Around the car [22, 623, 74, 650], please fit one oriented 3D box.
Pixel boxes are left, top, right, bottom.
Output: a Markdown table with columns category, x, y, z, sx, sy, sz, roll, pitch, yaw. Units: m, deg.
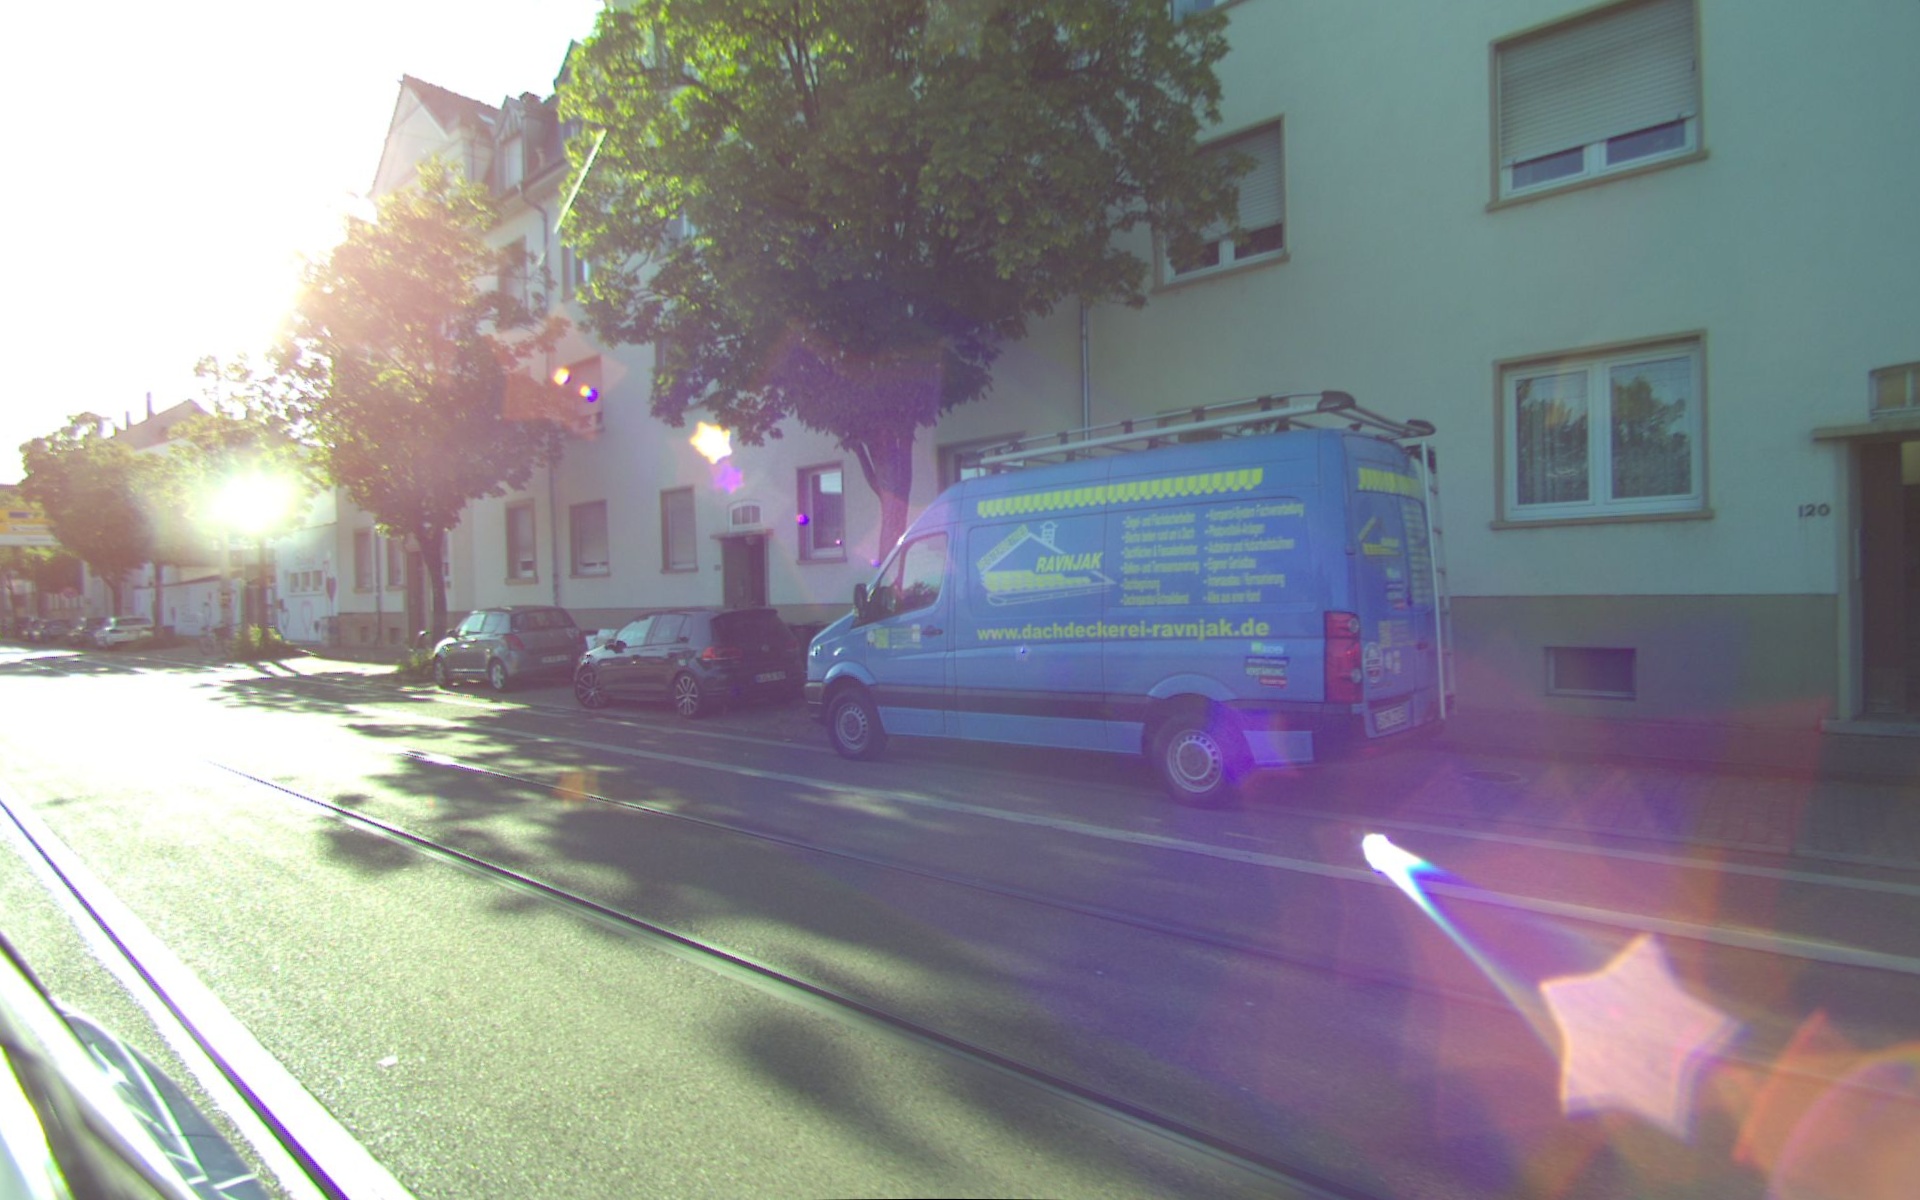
| category | x | y | z | sx | sy | sz | roll | pitch | yaw |
| --- | --- | --- | --- | --- | --- | --- | --- | --- | --- |
| car | -54.714 | 2.161 | 60.665 | 4.292 | 1.439 | 1.854 | -1 | 2 | 42 |

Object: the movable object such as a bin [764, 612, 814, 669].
| category | x | y | z | sx | sy | sz | roll | pitch | yaw |
| --- | --- | --- | --- | --- | --- | --- | --- | --- | --- |
| movable object such as a bin | -2.919 | 0.681 | 17.272 | 0.568 | 0.941 | 0.590 | -1 | 0 | 39 |

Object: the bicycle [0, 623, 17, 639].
| category | x | y | z | sx | sy | sz | roll | pitch | yaw |
| --- | --- | --- | --- | --- | --- | --- | --- | --- | --- |
| bicycle | -73.015 | 2.400 | 77.335 | 0.409 | 1.178 | 1.326 | -1 | 2 | 42 |

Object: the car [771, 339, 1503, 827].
| category | x | y | z | sx | sy | sz | roll | pitch | yaw |
| --- | --- | --- | --- | --- | --- | --- | --- | --- | --- |
| car | 1.056 | -0.111 | 8.708 | 6.032 | 2.846 | 1.995 | -1 | 2 | 43 |

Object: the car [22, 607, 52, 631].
| category | x | y | z | sx | sy | sz | roll | pitch | yaw |
| --- | --- | --- | --- | --- | --- | --- | --- | --- | --- |
| car | -66.039 | 1.345 | 72.401 | 2.546 | 1.513 | 1.341 | -5 | 0 | 42 |

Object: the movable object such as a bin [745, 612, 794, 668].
| category | x | y | z | sx | sy | sz | roll | pitch | yaw |
| --- | --- | --- | --- | --- | --- | --- | --- | --- | --- |
| movable object such as a bin | -3.329 | 0.684 | 17.706 | 0.568 | 0.941 | 0.590 | -1 | 0 | 39 |

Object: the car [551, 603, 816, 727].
| category | x | y | z | sx | sy | sz | roll | pitch | yaw |
| --- | --- | --- | --- | --- | --- | --- | --- | --- | --- |
| car | -4.049 | 0.819 | 14.439 | 4.189 | 1.435 | 1.634 | -1 | 2 | 42 |

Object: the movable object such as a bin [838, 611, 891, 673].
| category | x | y | z | sx | sy | sz | roll | pitch | yaw |
| --- | --- | --- | --- | --- | --- | --- | --- | --- | --- |
| movable object such as a bin | -1.517 | 0.658 | 16.136 | 0.568 | 0.941 | 0.590 | -1 | 0 | 39 |

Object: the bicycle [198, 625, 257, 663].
| category | x | y | z | sx | sy | sz | roll | pitch | yaw |
| --- | --- | --- | --- | --- | --- | --- | --- | --- | --- |
| bicycle | -23.534 | 1.405 | 32.548 | 0.524 | 1.047 | 1.989 | -2 | 2 | -4 |

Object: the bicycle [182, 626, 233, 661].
| category | x | y | z | sx | sy | sz | roll | pitch | yaw |
| --- | --- | --- | --- | --- | --- | --- | --- | --- | --- |
| bicycle | -26.179 | 1.500 | 35.223 | 0.658 | 1.047 | 1.791 | -2 | 2 | -11 |

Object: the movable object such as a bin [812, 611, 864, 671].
| category | x | y | z | sx | sy | sz | roll | pitch | yaw |
| --- | --- | --- | --- | --- | --- | --- | --- | --- | --- |
| movable object such as a bin | -1.987 | 0.666 | 16.512 | 0.568 | 0.941 | 0.590 | -1 | 0 | 39 |

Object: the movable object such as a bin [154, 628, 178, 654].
| category | x | y | z | sx | sy | sz | roll | pitch | yaw |
| --- | --- | --- | --- | --- | --- | --- | --- | --- | --- |
| movable object such as a bin | -32.075 | 1.647 | 40.886 | 0.702 | 0.966 | 0.576 | -1 | 6 | 42 |

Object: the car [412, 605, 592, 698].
| category | x | y | z | sx | sy | sz | roll | pitch | yaw |
| --- | --- | --- | --- | --- | --- | --- | --- | --- | --- |
| car | -8.759 | 0.900 | 19.208 | 3.999 | 1.502 | 1.634 | -1 | 2 | 42 |

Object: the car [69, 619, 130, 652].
| category | x | y | z | sx | sy | sz | roll | pitch | yaw |
| --- | --- | --- | --- | --- | --- | --- | --- | --- | --- |
| car | -43.273 | 1.758 | 50.868 | 4.304 | 1.497 | 1.754 | -1 | 2 | 42 |

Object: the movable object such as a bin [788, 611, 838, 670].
| category | x | y | z | sx | sy | sz | roll | pitch | yaw |
| --- | --- | --- | --- | --- | --- | --- | --- | --- | --- |
| movable object such as a bin | -2.451 | 0.673 | 16.907 | 0.568 | 0.941 | 0.590 | -1 | 0 | 39 |

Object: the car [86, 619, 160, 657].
| category | x | y | z | sx | sy | sz | roll | pitch | yaw |
| --- | --- | --- | --- | --- | --- | --- | --- | --- | --- |
| car | -37.540 | 1.650 | 45.349 | 4.660 | 1.501 | 1.845 | -1 | 2 | 42 |

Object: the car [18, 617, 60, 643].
| category | x | y | z | sx | sy | sz | roll | pitch | yaw |
| --- | --- | --- | --- | --- | --- | --- | --- | --- | --- |
| car | -58.896 | 1.865 | 64.693 | 3.999 | 1.516 | 1.555 | -1 | 2 | 42 |
